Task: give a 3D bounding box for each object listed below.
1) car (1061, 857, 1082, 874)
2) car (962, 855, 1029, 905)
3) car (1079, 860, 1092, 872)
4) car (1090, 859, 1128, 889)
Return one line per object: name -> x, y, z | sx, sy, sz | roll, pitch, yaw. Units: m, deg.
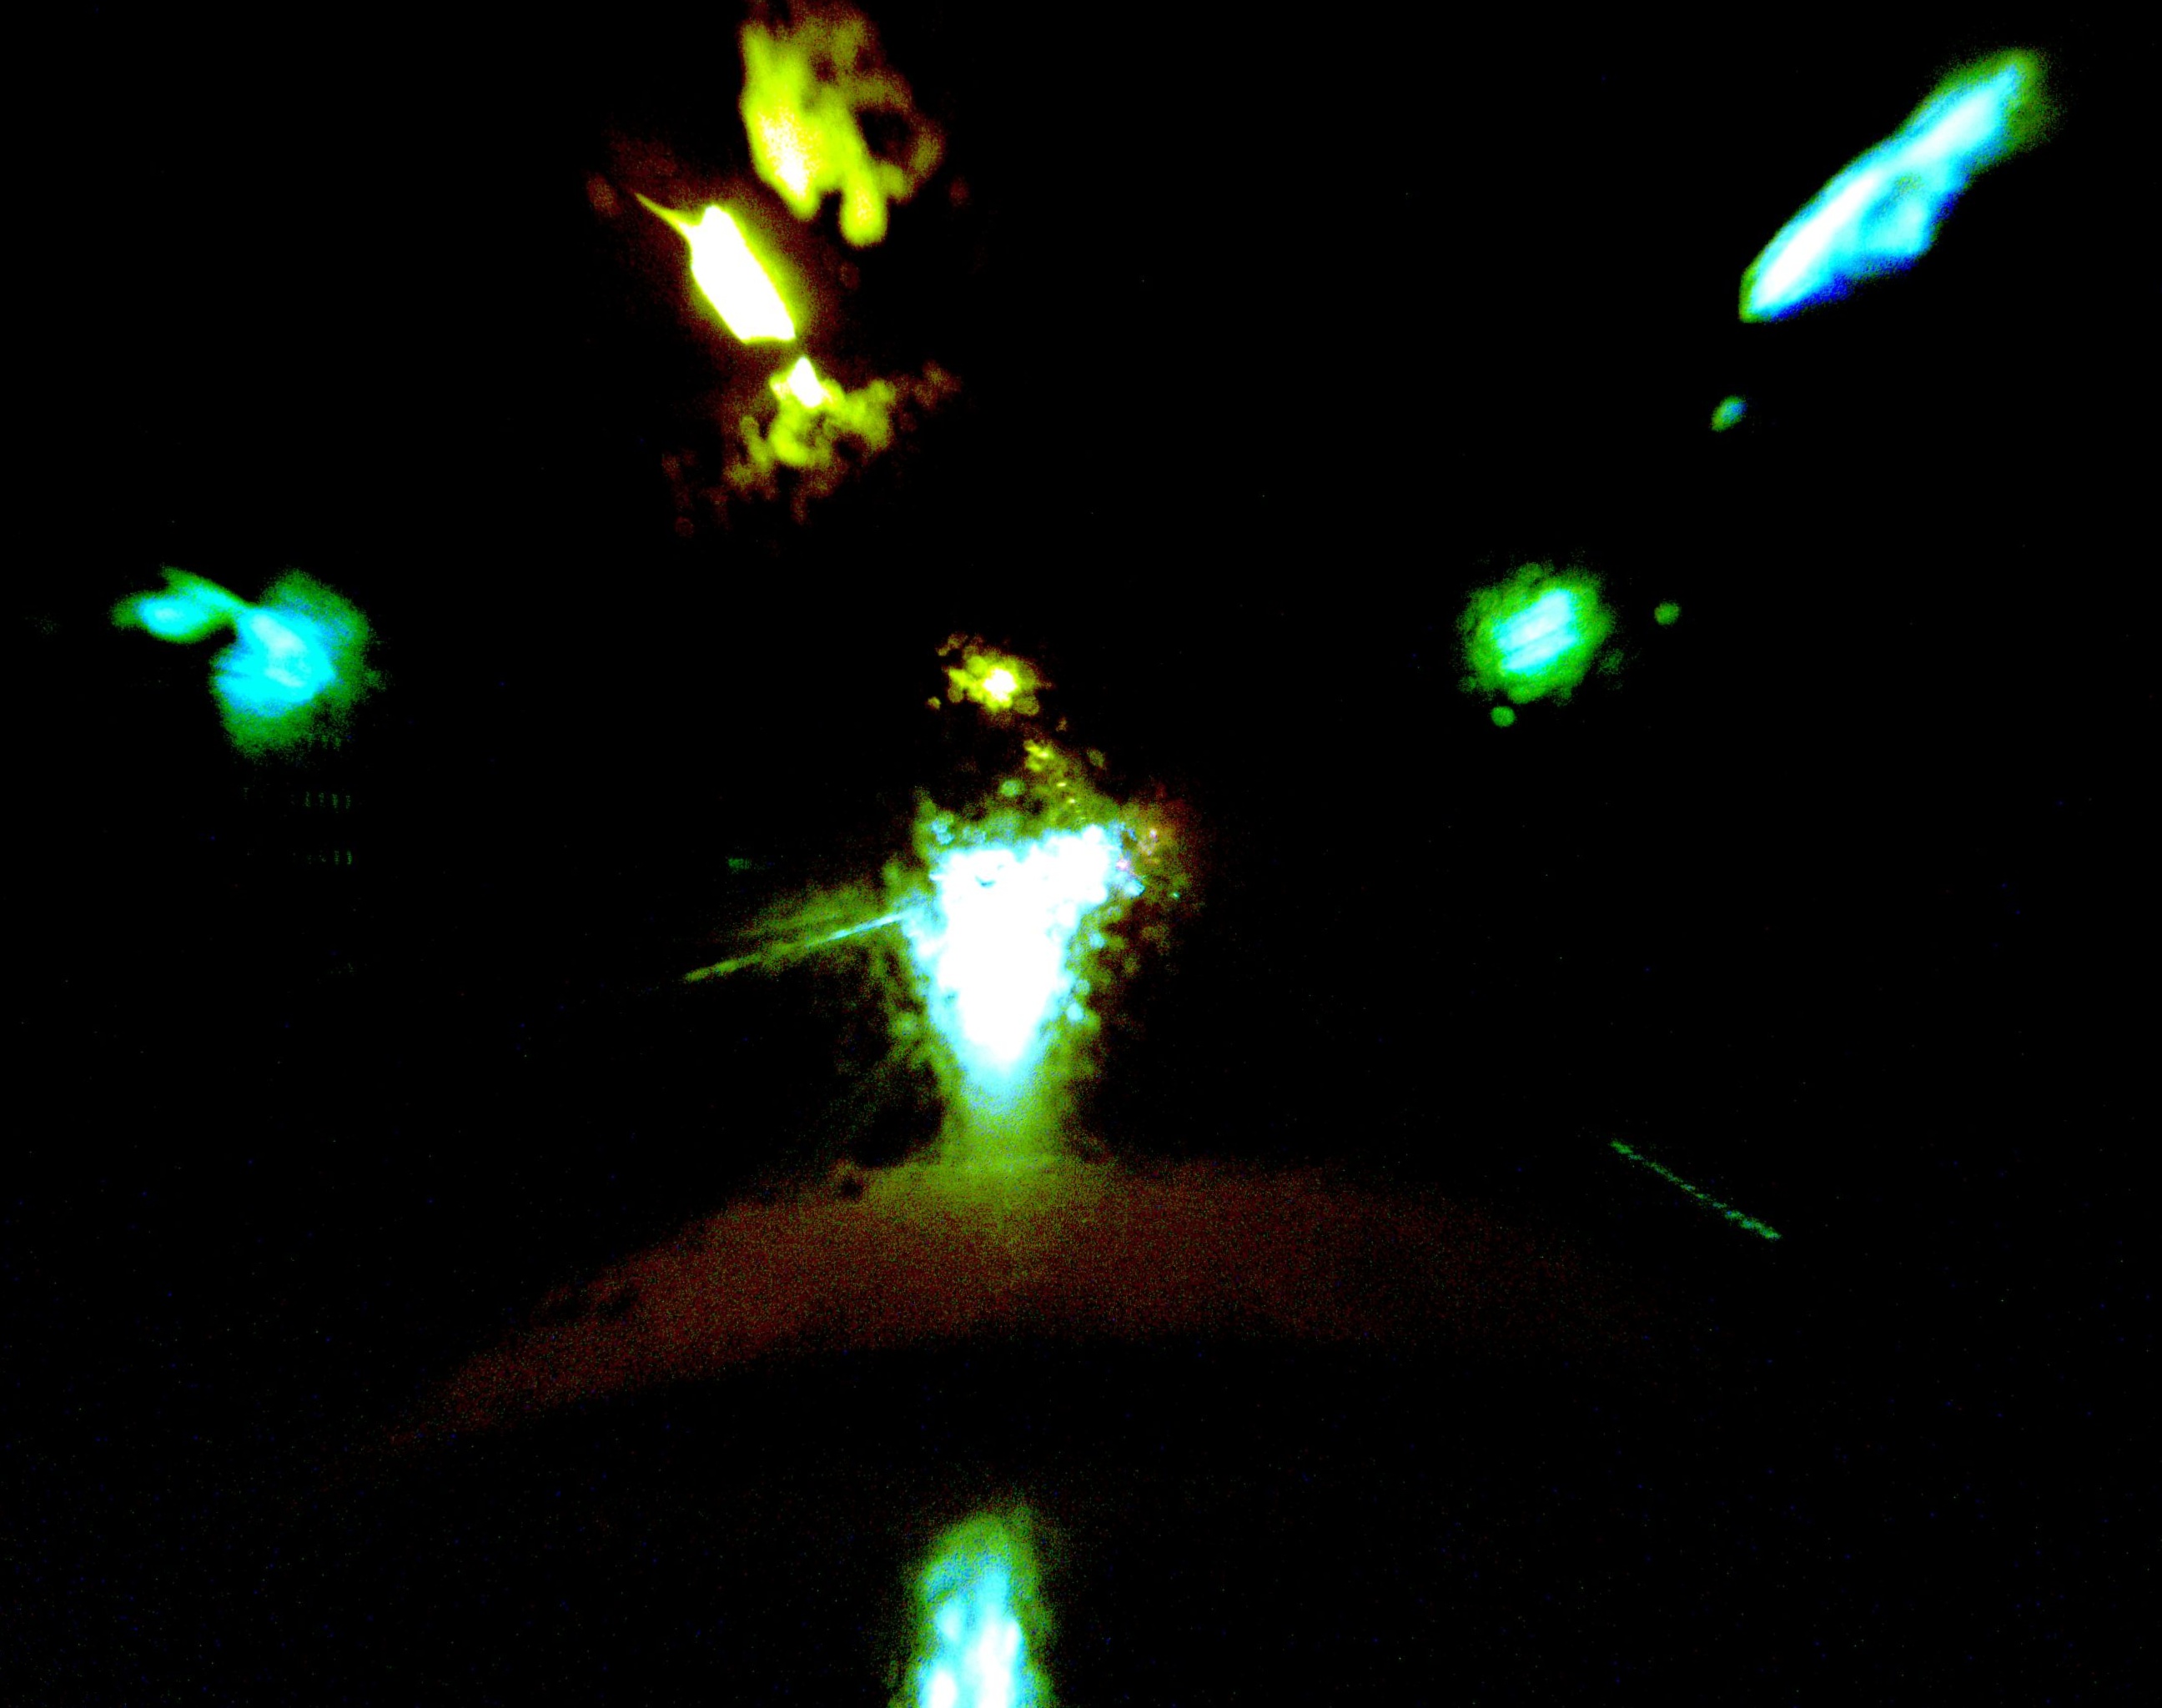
car -> -0.853, 0.991, 74.516 | 1.704, 1.462, 3.576 | -2, 0, 2
car -> -2.727, 0.798, 26.713 | 1.685, 1.505, 3.745 | -1, 0, 1
car -> 0.668, 1.725, 119.675 | 1.662, 1.647, 3.908 | -4, 0, 2
car -> 1.638, 1.133, 47.502 | 2.082, 1.662, 4.001 | -1, -1, 1
